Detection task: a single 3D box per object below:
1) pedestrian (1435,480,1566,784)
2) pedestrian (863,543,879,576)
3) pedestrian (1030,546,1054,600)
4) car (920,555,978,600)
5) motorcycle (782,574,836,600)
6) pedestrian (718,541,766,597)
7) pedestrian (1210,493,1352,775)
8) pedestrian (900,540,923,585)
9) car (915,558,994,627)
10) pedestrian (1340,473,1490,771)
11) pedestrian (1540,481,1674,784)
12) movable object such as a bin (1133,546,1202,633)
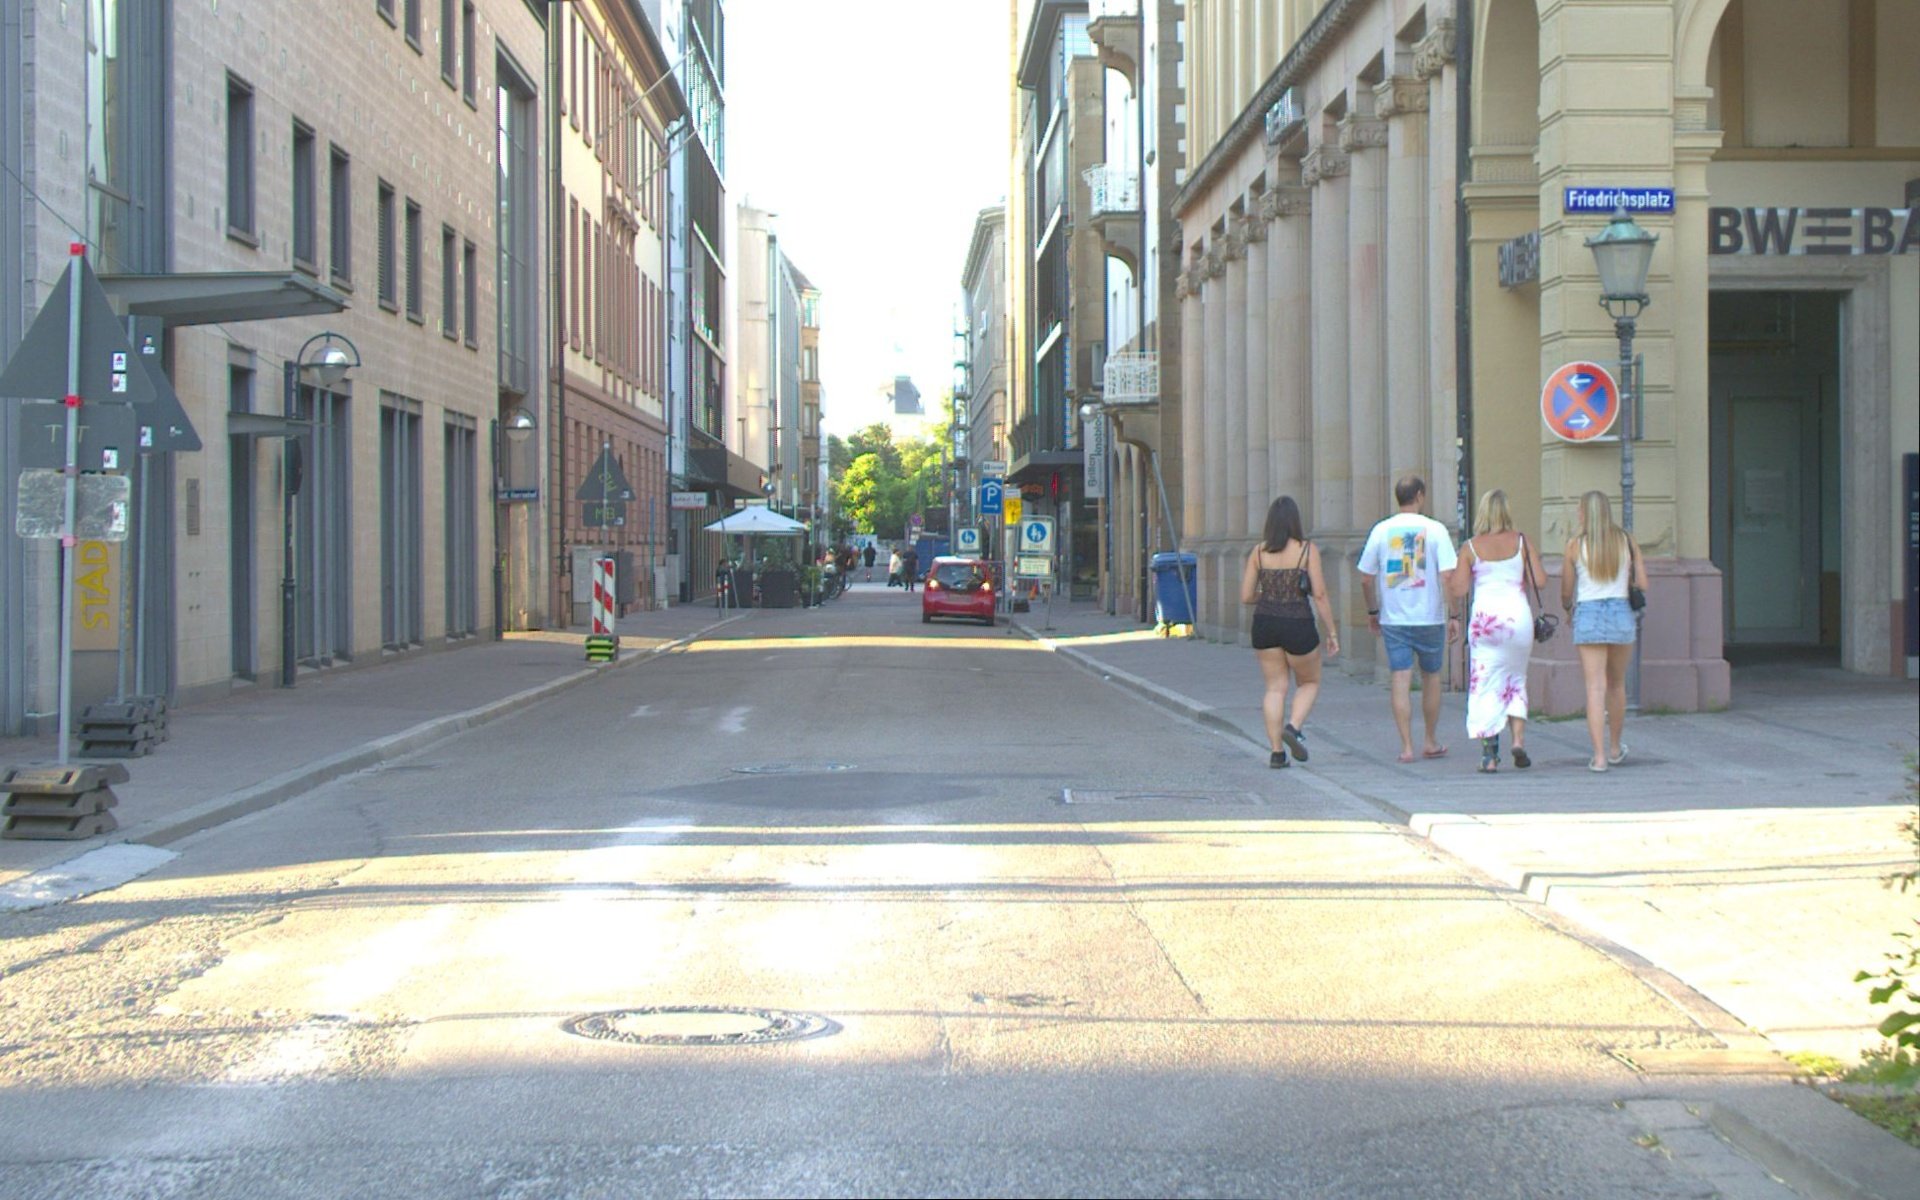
[{"bbox_3d":[3.259,0.188,20.774,0.636,1.797,0.772,-1,0,-2],"label":"pedestrian"},{"bbox_3d":[-4.514,-2.052,174.493,0.804,1.667,0.888,0,1,1],"label":"pedestrian"},{"bbox_3d":[2.269,-0.744,95.403,0.656,1.482,0.493,-1,0,1],"label":"pedestrian"},{"bbox_3d":[-0.417,-0.836,126.143,1.993,1.605,4.000,0,1,-2],"label":"car"},{"bbox_3d":[-5.117,-0.426,116.635,1.801,0.872,0.560,0,1,-5],"label":"motorcycle"},{"bbox_3d":[-5.861,-0.836,92.465,1.290,1.482,0.661,0,0,-3],"label":"pedestrian"},{"bbox_3d":[2.019,0.205,21.743,0.775,1.740,0.875,-1,1,-2],"label":"pedestrian"},{"bbox_3d":[-1.873,-1.455,133.157,0.865,1.707,0.852,0,0,-1],"label":"pedestrian"},{"bbox_3d":[-0.133,-0.190,76.819,1.649,1.422,3.535,3,1,0],"label":"car"},{"bbox_3d":[2.914,0.132,22.088,0.812,1.869,0.875,-1,0,-2],"label":"pedestrian"},{"bbox_3d":[3.910,0.188,20.815,0.636,1.797,0.772,-1,0,-2],"label":"pedestrian"},{"bbox_3d":[3.366,-0.174,55.941,0.990,1.387,1.241,-1,1,-2],"label":"movable object such as a bin"}]
